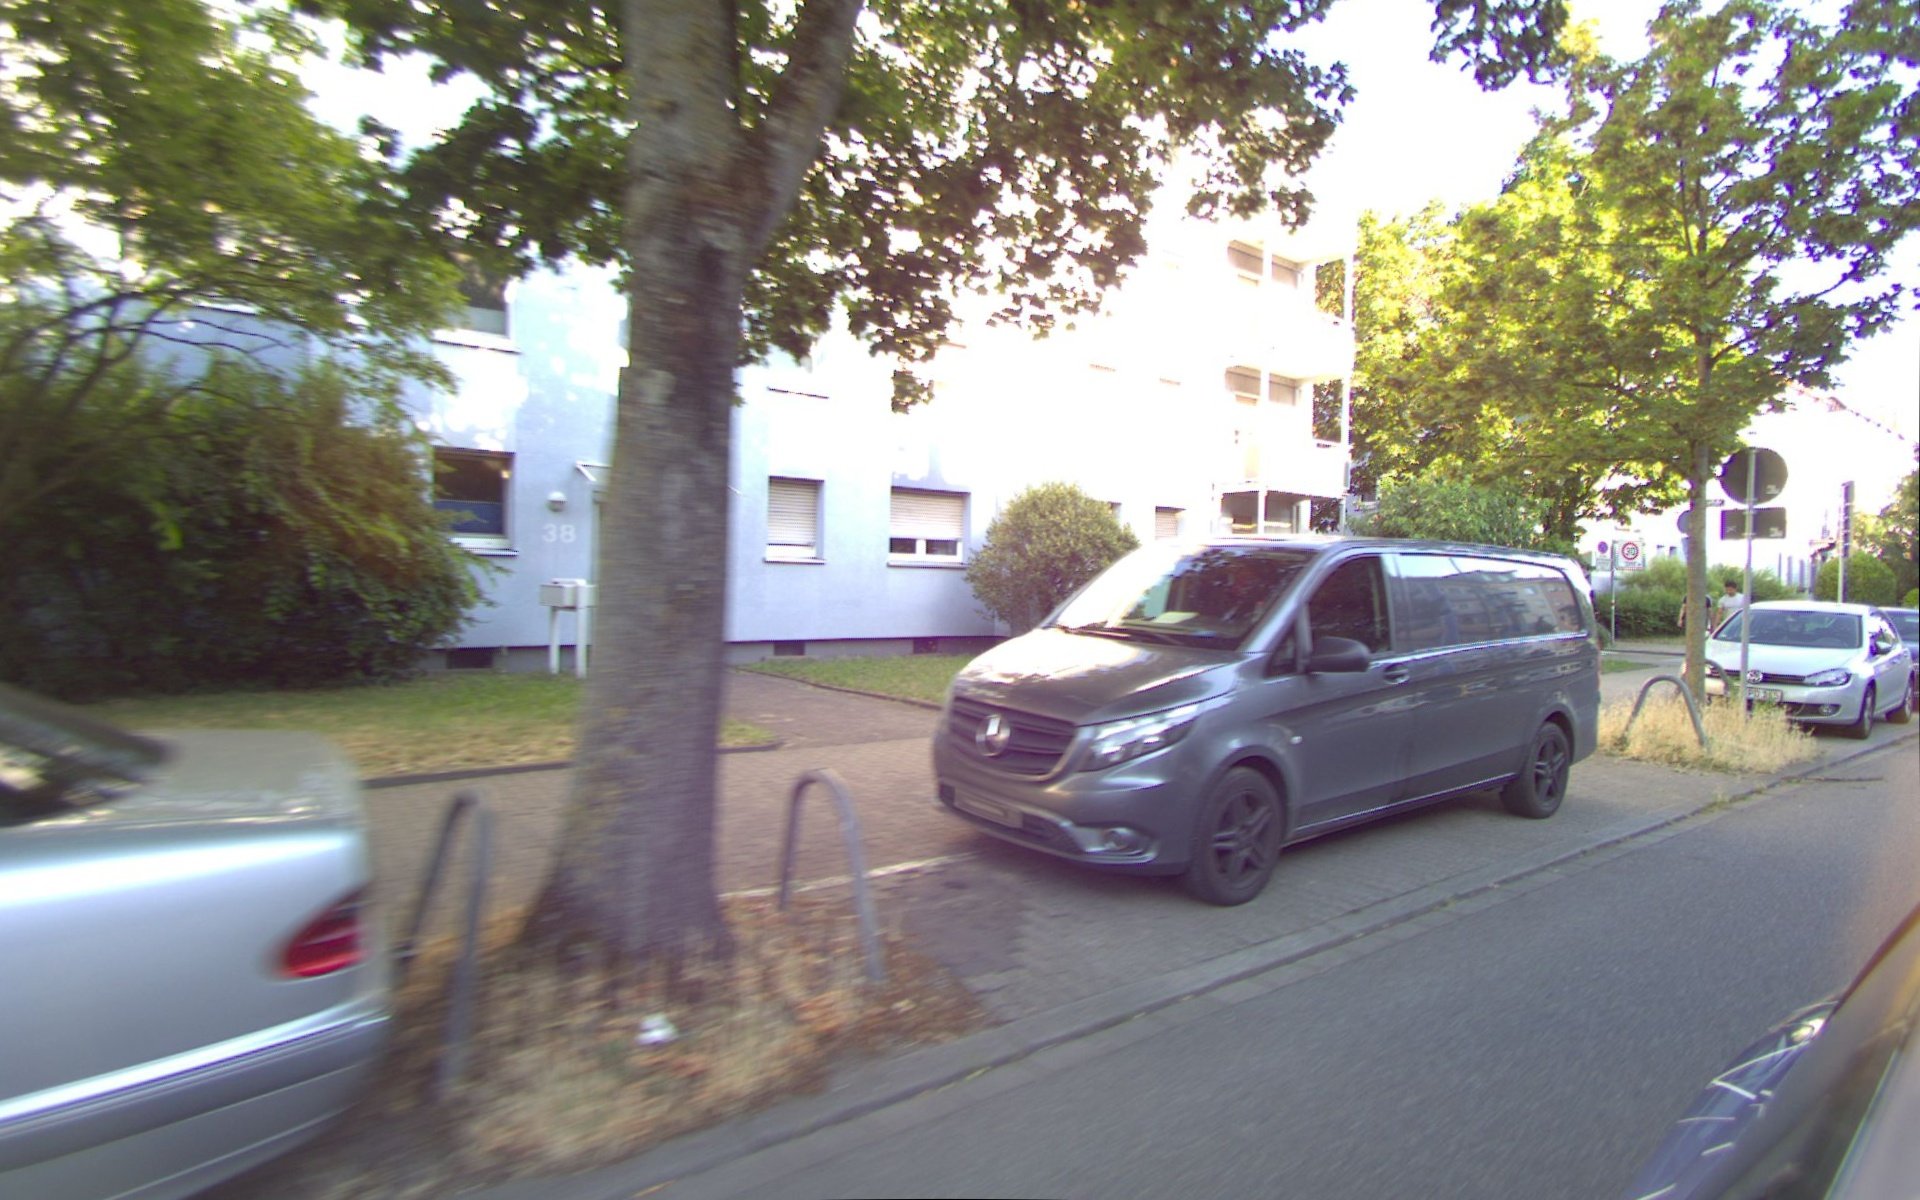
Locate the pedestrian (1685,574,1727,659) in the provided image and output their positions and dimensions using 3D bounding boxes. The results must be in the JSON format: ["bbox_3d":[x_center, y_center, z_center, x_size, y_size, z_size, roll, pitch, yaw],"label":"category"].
[{"bbox_3d":[15.634,0.340,21.202,0.398,1.749,0.593,0,1,-37],"label":"pedestrian"}]

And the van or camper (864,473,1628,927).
[{"bbox_3d":[2.128,0.434,6.518,5.161,1.865,1.999,1,0,-37],"label":"van or camper"}]

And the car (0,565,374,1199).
[{"bbox_3d":[-3.641,0.680,1.415,4.739,1.523,1.790,0,1,-36],"label":"car"}]

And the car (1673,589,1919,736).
[{"bbox_3d":[10.501,0.653,12.408,4.226,1.461,1.739,1,2,-39],"label":"car"}]

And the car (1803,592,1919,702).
[{"bbox_3d":[14.637,0.670,15.565,4.260,1.461,1.739,1,2,-39],"label":"car"}]
